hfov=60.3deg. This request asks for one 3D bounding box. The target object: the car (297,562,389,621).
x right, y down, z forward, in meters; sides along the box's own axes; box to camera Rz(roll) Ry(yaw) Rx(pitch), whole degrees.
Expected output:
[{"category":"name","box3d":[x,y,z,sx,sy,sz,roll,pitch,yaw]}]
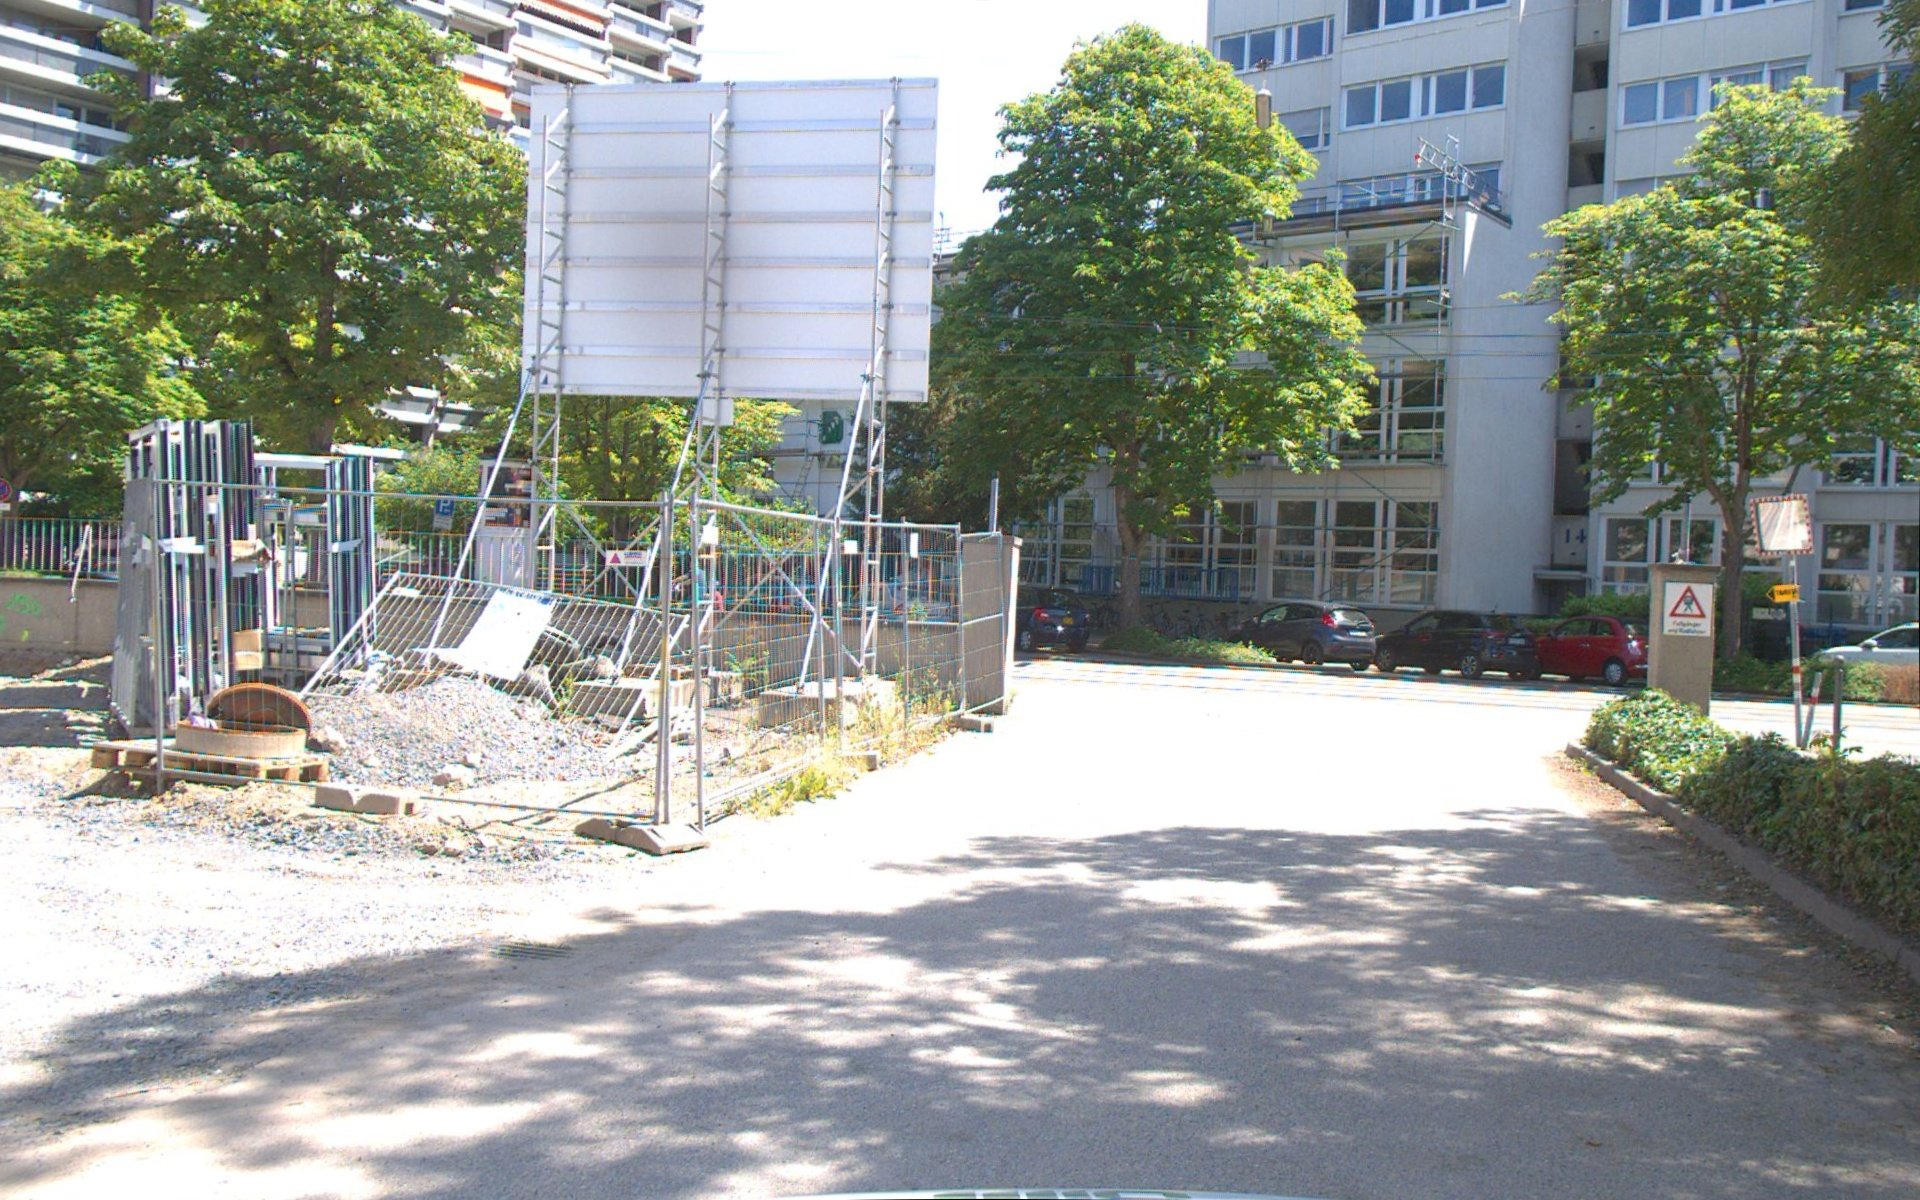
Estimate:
[{"category":"car","box3d":[-15.741,-0.234,42.104,1.615,1.411,3.642,2,0,-30]}]

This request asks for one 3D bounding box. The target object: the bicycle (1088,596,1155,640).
[{"category":"bicycle","box3d":[4.535,0.504,46.205,0.767,1.178,2.376,2,0,35]}]

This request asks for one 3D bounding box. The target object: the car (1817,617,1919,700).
[{"category":"car","box3d":[20.284,1.244,34.769,1.594,1.648,3.698,2,0,-35]}]

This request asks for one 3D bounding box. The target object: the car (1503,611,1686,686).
[{"category":"car","box3d":[13.918,1.041,36.435,1.590,1.462,3.568,2,0,-30]}]

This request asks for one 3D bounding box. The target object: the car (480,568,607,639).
[{"category":"car","box3d":[-9.609,0.060,38.008,1.620,1.489,3.632,2,0,-35]}]

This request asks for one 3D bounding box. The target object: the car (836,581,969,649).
[{"category":"car","box3d":[-1.418,0.342,39.450,1.616,1.489,3.639,2,0,-31]}]

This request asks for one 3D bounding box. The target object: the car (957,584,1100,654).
[{"category":"car","box3d":[1.554,0.427,38.812,1.616,1.489,3.639,2,0,-31]}]

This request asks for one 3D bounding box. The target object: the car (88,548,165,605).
[{"category":"car","box3d":[-22.133,-0.627,43.859,1.615,1.411,3.642,2,0,-30]}]

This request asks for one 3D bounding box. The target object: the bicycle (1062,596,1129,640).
[{"category":"bicycle","box3d":[3.846,0.507,46.688,0.767,1.178,2.376,2,0,35]}]

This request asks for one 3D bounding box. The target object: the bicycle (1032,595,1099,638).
[{"category":"bicycle","box3d":[3.043,0.475,47.263,0.767,1.178,2.376,2,0,35]}]

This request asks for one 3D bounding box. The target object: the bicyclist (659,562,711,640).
[{"category":"bicyclist","box3d":[-6.147,0.026,37.039,0.878,1.695,0.859,2,0,8]}]

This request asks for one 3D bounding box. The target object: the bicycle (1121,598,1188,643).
[{"category":"bicycle","box3d":[5.384,0.571,45.596,0.767,1.178,2.376,2,0,35]}]

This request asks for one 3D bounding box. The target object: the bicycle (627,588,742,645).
[{"category":"bicycle","box3d":[-6.167,0.355,37.046,2.380,1.172,0.787,2,0,7]}]

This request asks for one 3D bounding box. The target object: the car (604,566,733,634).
[{"category":"car","box3d":[-6.996,-0.023,39.519,1.620,1.489,3.632,2,0,-35]}]

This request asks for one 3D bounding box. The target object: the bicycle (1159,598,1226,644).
[{"category":"bicycle","box3d":[6.339,0.570,44.943,0.767,1.208,2.423,2,0,35]}]

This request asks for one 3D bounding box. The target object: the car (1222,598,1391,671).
[{"category":"car","box3d":[7.858,0.768,37.724,1.626,1.489,3.631,2,0,-36]}]

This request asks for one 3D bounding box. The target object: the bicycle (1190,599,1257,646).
[{"category":"bicycle","box3d":[7.095,0.600,44.375,0.767,1.208,2.423,2,0,35]}]

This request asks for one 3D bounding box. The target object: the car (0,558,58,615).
[{"category":"car","box3d":[-24.663,-0.381,43.448,1.615,1.411,3.642,2,0,-30]}]

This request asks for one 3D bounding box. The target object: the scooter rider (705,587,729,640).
[{"category":"scooter rider","box3d":[-5.340,0.289,36.313,0.407,1.154,0.359,2,0,8]}]

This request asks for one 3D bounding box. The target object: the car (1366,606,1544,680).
[{"category":"car","box3d":[10.965,0.928,36.848,1.592,1.470,3.636,2,0,-33]}]

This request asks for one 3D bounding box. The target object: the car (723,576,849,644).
[{"category":"car","box3d":[-4.218,0.224,39.658,1.616,1.489,3.639,2,0,-31]}]
